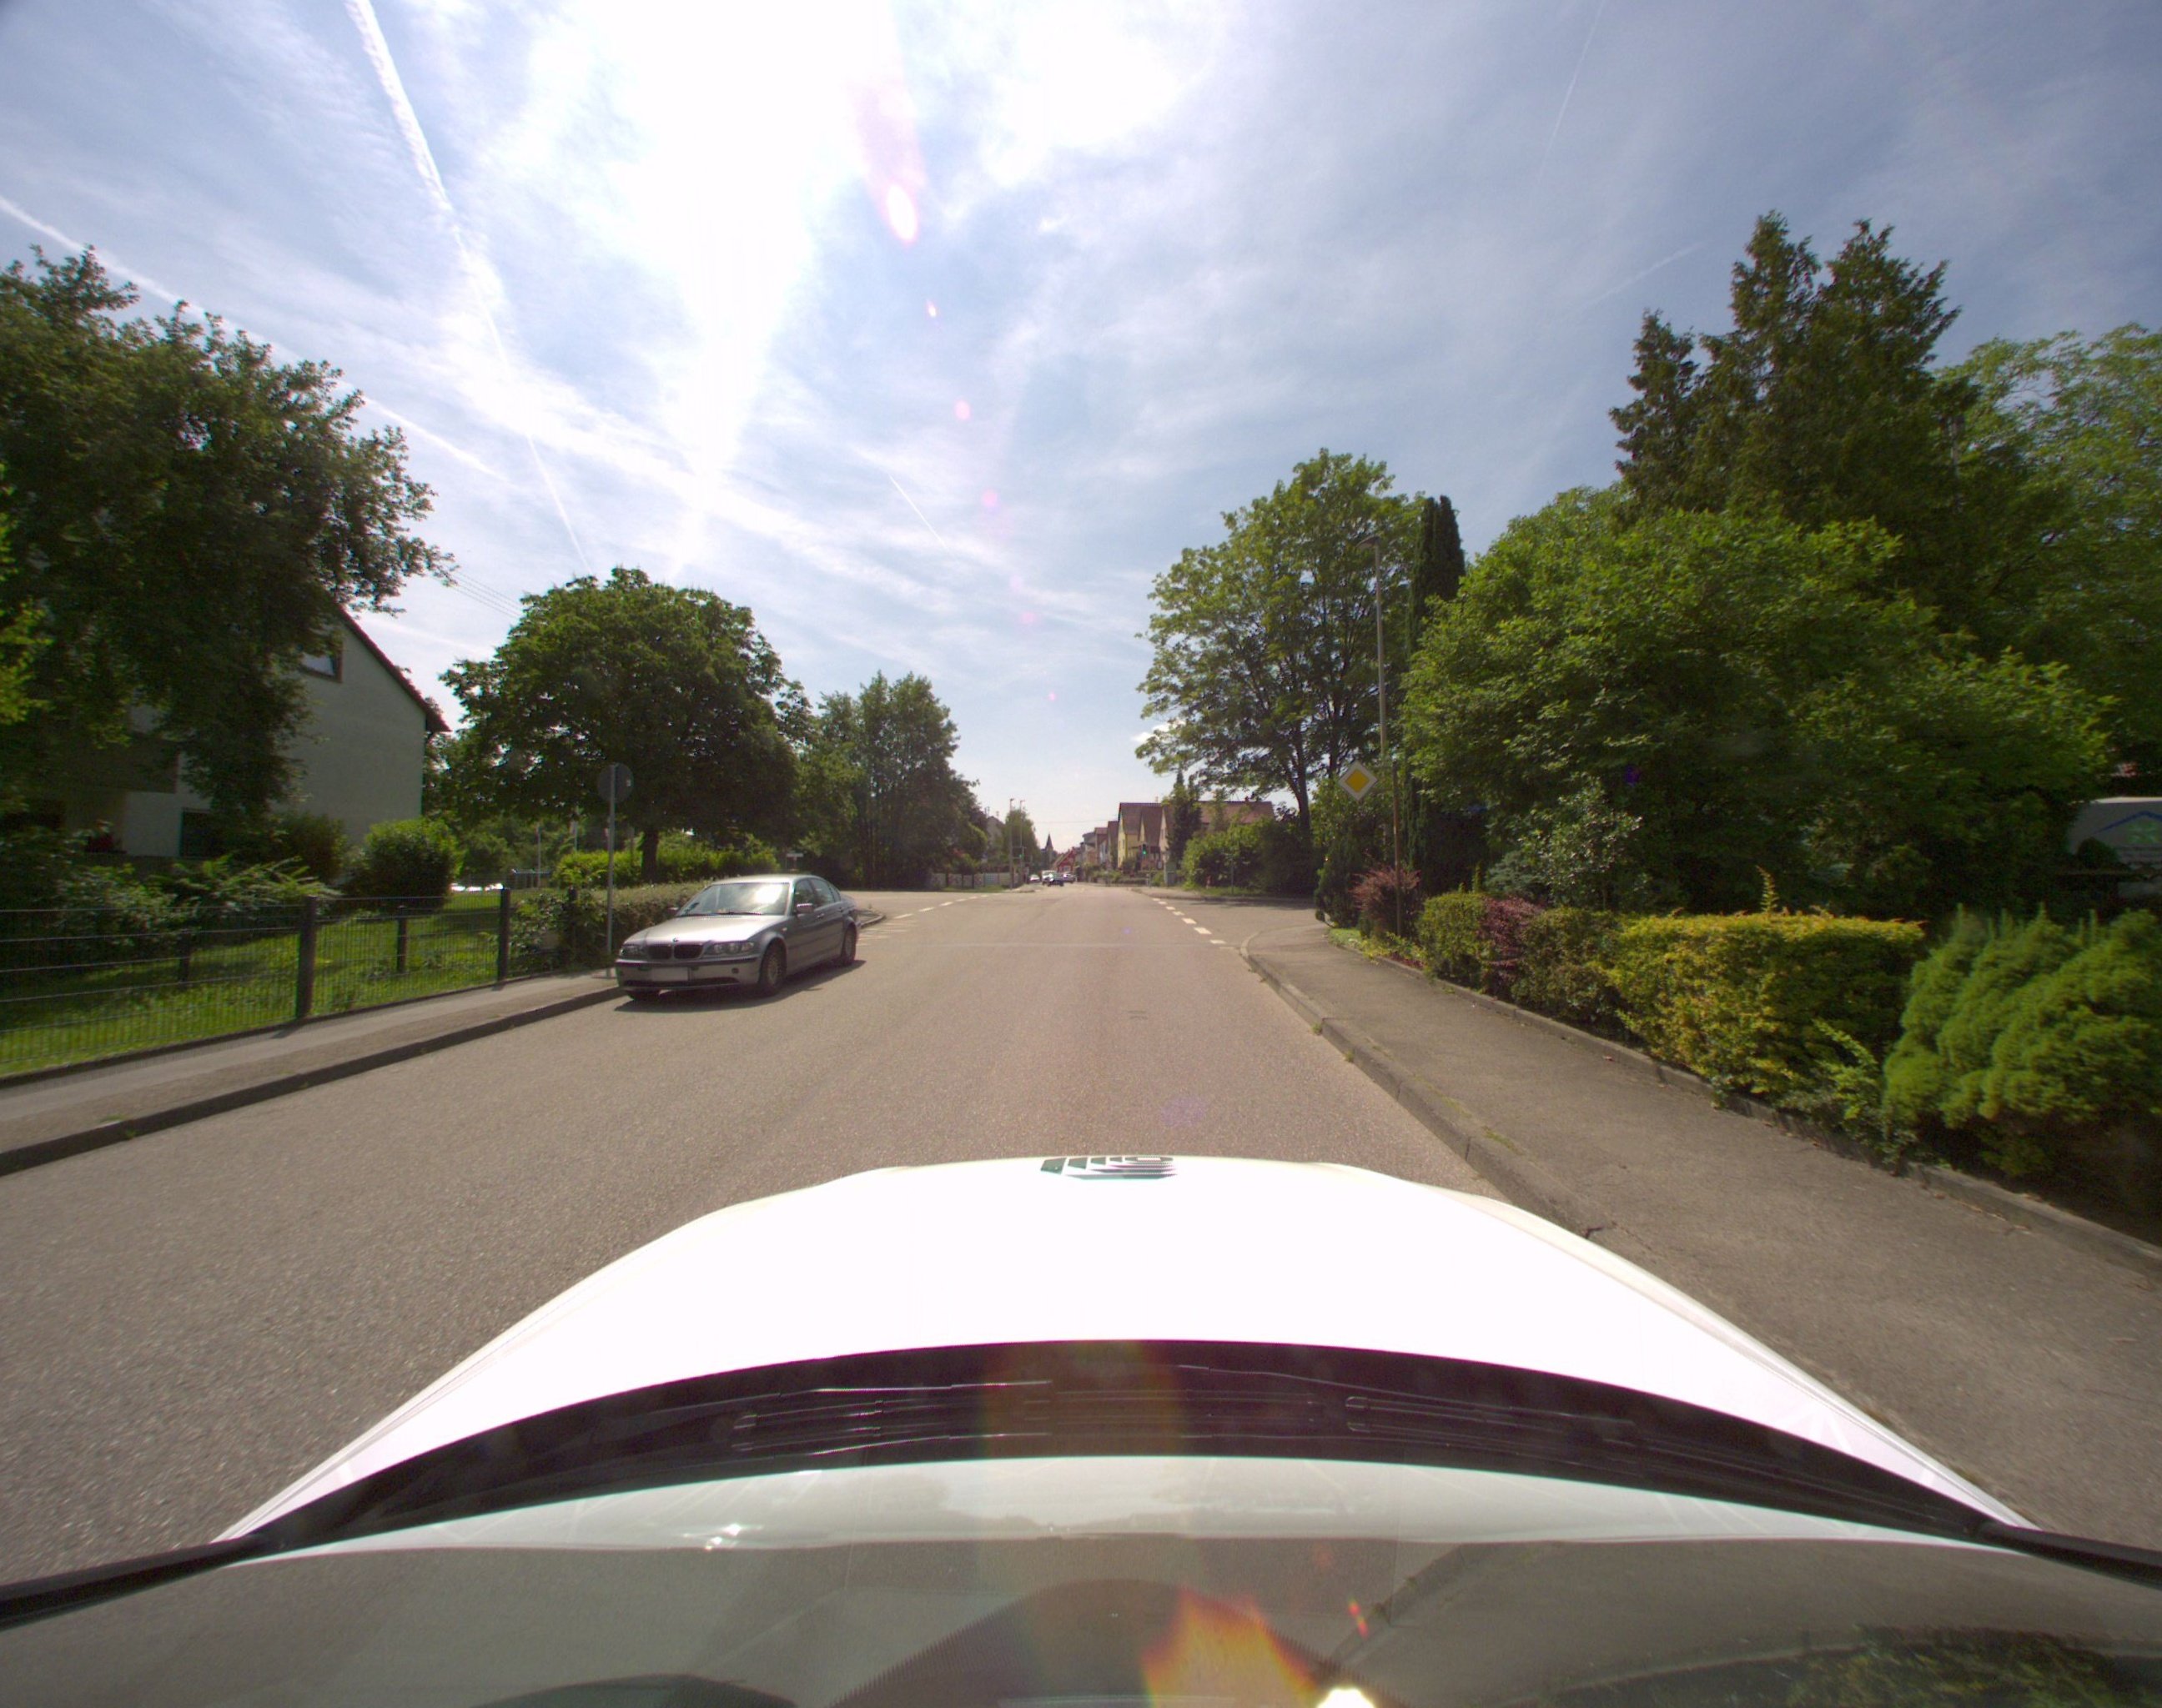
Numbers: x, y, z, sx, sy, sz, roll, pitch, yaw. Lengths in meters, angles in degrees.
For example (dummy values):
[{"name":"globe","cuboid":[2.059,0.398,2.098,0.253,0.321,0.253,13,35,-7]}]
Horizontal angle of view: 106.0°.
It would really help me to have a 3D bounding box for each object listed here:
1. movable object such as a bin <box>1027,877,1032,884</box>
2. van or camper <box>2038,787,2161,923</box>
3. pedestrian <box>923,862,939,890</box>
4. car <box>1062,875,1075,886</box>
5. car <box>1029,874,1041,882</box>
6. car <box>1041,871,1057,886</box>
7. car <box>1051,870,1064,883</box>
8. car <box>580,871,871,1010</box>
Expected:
[{"name":"movable object such as a bin","cuboid":[-7.441,3.833,117.458,0.606,1.046,0.724,1,0,-5]},{"name":"van or camper","cuboid":[18.001,0.049,13.044,1.828,2.141,3.349,4,-4,-38]},{"name":"pedestrian","cuboid":[-9.788,1.420,53.096,0.729,1.778,0.693,-3,-3,19]},{"name":"car","cuboid":[-2.113,4.421,135.996,1.987,1.603,4.000,-1,0,1]},{"name":"car","cuboid":[-8.967,4.646,159.164,2.104,1.561,4.312,-1,-2,0]},{"name":"car","cuboid":[-4.405,3.330,110.791,1.876,1.965,4.893,-2,-2,-5]},{"name":"car","cuboid":[-2.855,2.675,97.760,1.530,1.541,4.301,0,-1,-2]},{"name":"car","cuboid":[-4.363,0.968,10.876,1.773,1.394,4.411,-2,-1,2]}]
